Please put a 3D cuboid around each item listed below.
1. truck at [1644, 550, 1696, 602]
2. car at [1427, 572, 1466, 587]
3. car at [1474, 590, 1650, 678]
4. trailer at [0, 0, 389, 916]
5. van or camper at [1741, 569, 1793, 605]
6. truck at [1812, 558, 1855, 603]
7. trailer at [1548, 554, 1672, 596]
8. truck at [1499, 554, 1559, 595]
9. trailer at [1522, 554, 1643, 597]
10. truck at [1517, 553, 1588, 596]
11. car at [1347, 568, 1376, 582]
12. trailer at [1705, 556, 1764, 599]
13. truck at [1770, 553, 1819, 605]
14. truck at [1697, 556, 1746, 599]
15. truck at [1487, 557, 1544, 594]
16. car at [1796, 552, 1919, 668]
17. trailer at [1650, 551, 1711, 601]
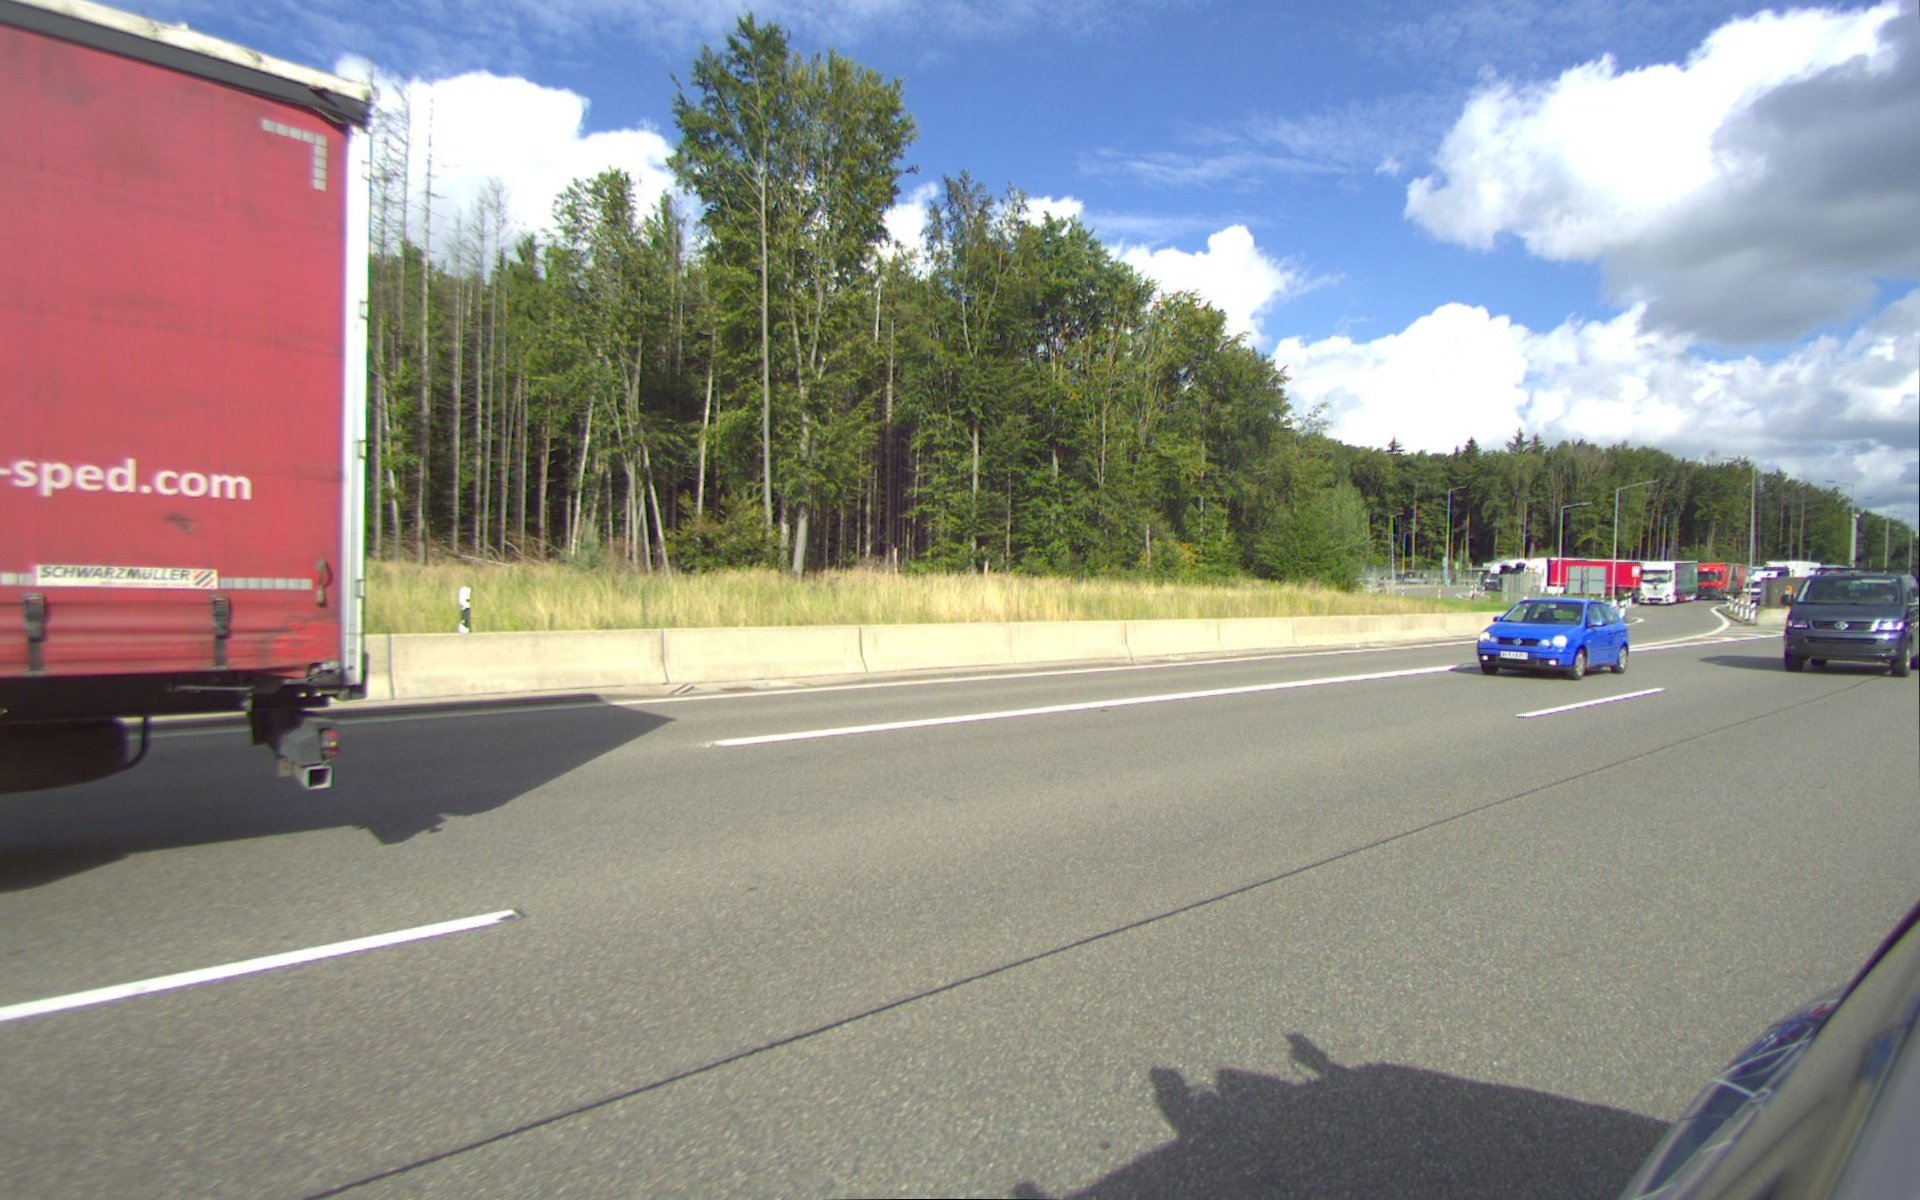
[{"bbox_3d":[65.314,-2.218,93.037,2.871,4.562,7.067,3,2,42],"label":"truck"},{"bbox_3d":[63.059,-2.660,131.205,1.966,1.938,3.993,0,2,-42],"label":"car"},{"bbox_3d":[11.321,0.560,18.937,3.929,1.460,1.653,0,1,-40],"label":"car"},{"bbox_3d":[-8.861,-0.762,1.726,13.473,4.096,2.779,0,1,-41],"label":"trailer"},{"bbox_3d":[73.652,-1.169,92.349,4.651,3.237,2.397,0,1,-35],"label":"van or camper"},{"bbox_3d":[99.081,-2.221,114.801,7.137,4.986,2.659,0,2,-42],"label":"truck"},{"bbox_3d":[70.678,-2.676,110.232,11.186,4.429,2.841,1,0,6],"label":"trailer"},{"bbox_3d":[64.487,-2.905,114.741,5.032,4.564,2.894,1,1,5],"label":"truck"},{"bbox_3d":[70.158,-2.779,114.214,11.344,4.485,2.859,1,1,5],"label":"trailer"},{"bbox_3d":[64.823,-2.811,110.848,5.990,4.563,2.877,1,0,6],"label":"truck"},{"bbox_3d":[51.021,-3.250,128.728,1.920,1.704,4.003,1,2,-2],"label":"car"},{"bbox_3d":[87.341,-2.473,113.989,13.458,4.563,2.876,0,1,-42],"label":"trailer"},{"bbox_3d":[83.076,-2.074,100.712,6.865,4.986,2.659,0,2,-42],"label":"truck"},{"bbox_3d":[82.491,-2.403,109.606,6.914,4.563,2.876,0,1,-41],"label":"truck"},{"bbox_3d":[64.688,-2.805,117.927,5.080,4.169,2.569,1,1,6],"label":"truck"},{"bbox_3d":[18.822,0.175,20.867,4.849,2.136,1.851,0,0,-43],"label":"car"},{"bbox_3d":[69.848,-2.300,97.939,2.872,4.562,12.797,3,2,44],"label":"trailer"}]
